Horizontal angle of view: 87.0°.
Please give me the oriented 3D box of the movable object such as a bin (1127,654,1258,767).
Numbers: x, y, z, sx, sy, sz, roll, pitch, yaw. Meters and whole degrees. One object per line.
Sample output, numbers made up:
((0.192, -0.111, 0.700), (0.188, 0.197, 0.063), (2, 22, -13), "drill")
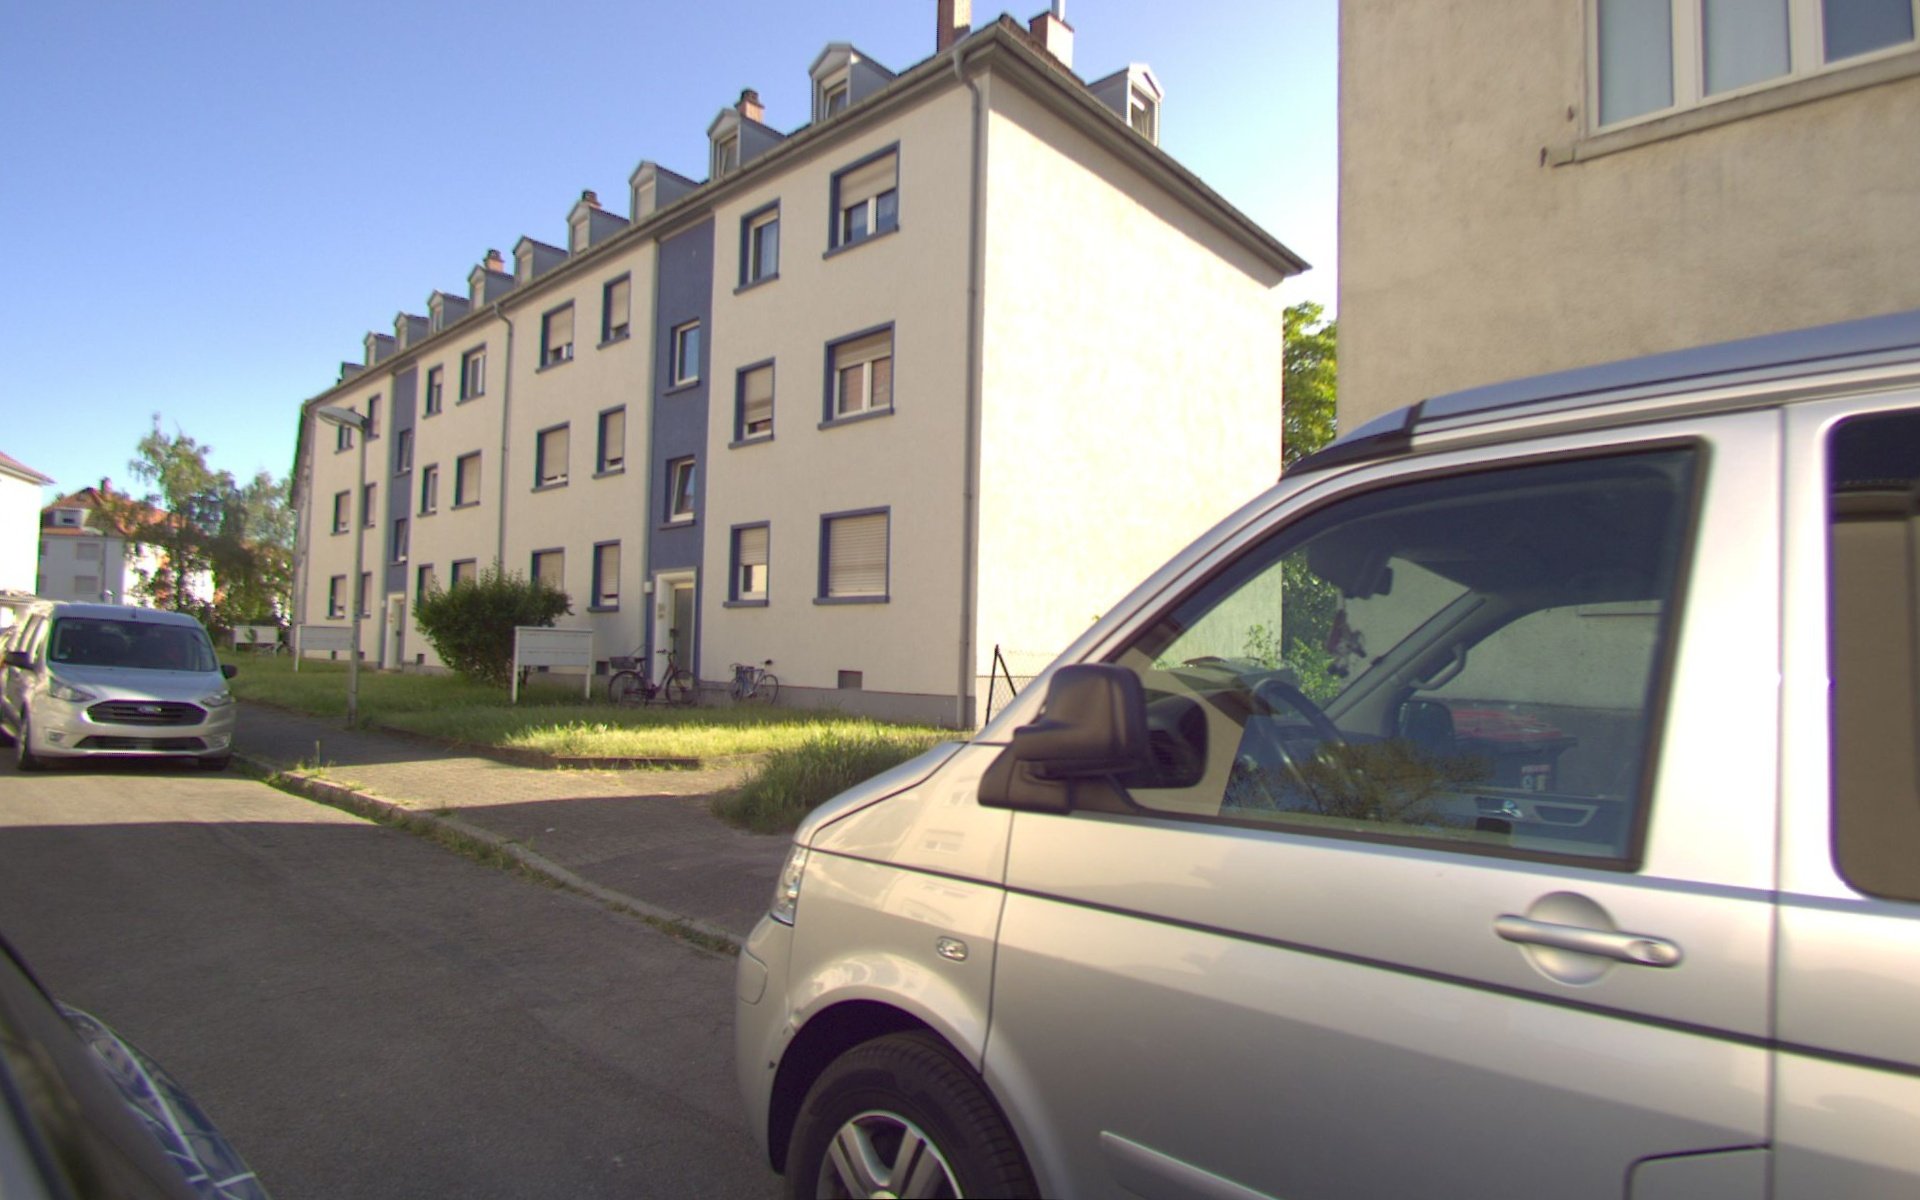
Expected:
((3.323, 1.551, 14.491), (1.436, 1.468, 1.117), (0, -5, 42), "movable object such as a bin")

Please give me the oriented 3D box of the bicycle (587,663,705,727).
((-5.614, 1.676, 18.206), (0.500, 0.969, 2.046), (-2, -1, 41), "bicycle")

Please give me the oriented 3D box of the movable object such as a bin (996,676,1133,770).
((1.277, 1.464, 12.300), (1.204, 1.007, 1.117), (0, -5, 42), "movable object such as a bin")

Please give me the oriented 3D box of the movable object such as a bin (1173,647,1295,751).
((4.197, 1.488, 15.504), (1.436, 1.457, 1.117), (0, -5, 42), "movable object such as a bin")

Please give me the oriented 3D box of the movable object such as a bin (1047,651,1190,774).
((2.065, 1.430, 13.176), (1.436, 1.444, 1.117), (0, -5, 42), "movable object such as a bin")

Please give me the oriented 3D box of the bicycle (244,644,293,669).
((-29.551, 2.399, 43.271), (1.707, 0.997, 0.463), (0, -1, -34), "bicycle")

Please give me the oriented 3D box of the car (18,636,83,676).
((-42.986, 2.642, 47.891), (1.615, 1.715, 3.657), (7, -6, -33), "car")

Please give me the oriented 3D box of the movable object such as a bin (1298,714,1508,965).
((2.328, 1.186, 5.319), (0.816, 1.087, 0.764), (-2, -3, 41), "movable object such as a bin")

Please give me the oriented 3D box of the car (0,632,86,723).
((-17.679, 1.385, 18.776), (3.701, 1.530, 1.626), (-2, -8, 42), "car")

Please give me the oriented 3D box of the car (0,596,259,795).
((-9.959, 1.021, 11.742), (4.948, 1.844, 1.780), (-2, -7, 42), "car")

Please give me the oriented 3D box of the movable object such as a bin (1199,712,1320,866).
((2.197, 1.342, 7.408), (0.591, 0.982, 0.764), (-2, -3, 41), "movable object such as a bin")

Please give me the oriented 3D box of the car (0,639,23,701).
((-25.358, 1.678, 25.702), (4.397, 1.470, 1.879), (-2, -7, 44), "car")

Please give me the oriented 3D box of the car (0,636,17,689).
((-29.770, 1.799, 30.577), (1.721, 1.528, 3.986), (8, -7, -43), "car")

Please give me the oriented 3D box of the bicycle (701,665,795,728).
((-3.743, 1.659, 17.717), (2.074, 0.969, 0.493), (-2, -1, 43), "bicycle")

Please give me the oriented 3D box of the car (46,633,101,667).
((-46.746, 2.655, 53.405), (1.615, 1.653, 3.657), (7, -6, -34), "car")

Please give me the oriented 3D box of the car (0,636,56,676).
((-39.962, 2.363, 43.059), (1.615, 1.559, 3.657), (7, -6, -34), "car")

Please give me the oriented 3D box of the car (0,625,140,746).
((-14.225, 1.258, 15.577), (4.162, 1.603, 1.655), (-1, -8, 41), "car")

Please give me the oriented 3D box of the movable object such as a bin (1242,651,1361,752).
((5.397, 1.579, 15.978), (1.436, 1.457, 1.117), (0, -5, 42), "movable object such as a bin")

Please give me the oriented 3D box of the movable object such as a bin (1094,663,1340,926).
((1.614, 1.099, 6.295), (1.044, 1.387, 1.242), (-2, -3, 41), "movable object such as a bin")

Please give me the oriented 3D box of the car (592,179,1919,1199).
((1.599, 0.633, 1.626), (4.854, 1.948, 1.930), (-2, -6, 41), "car")
